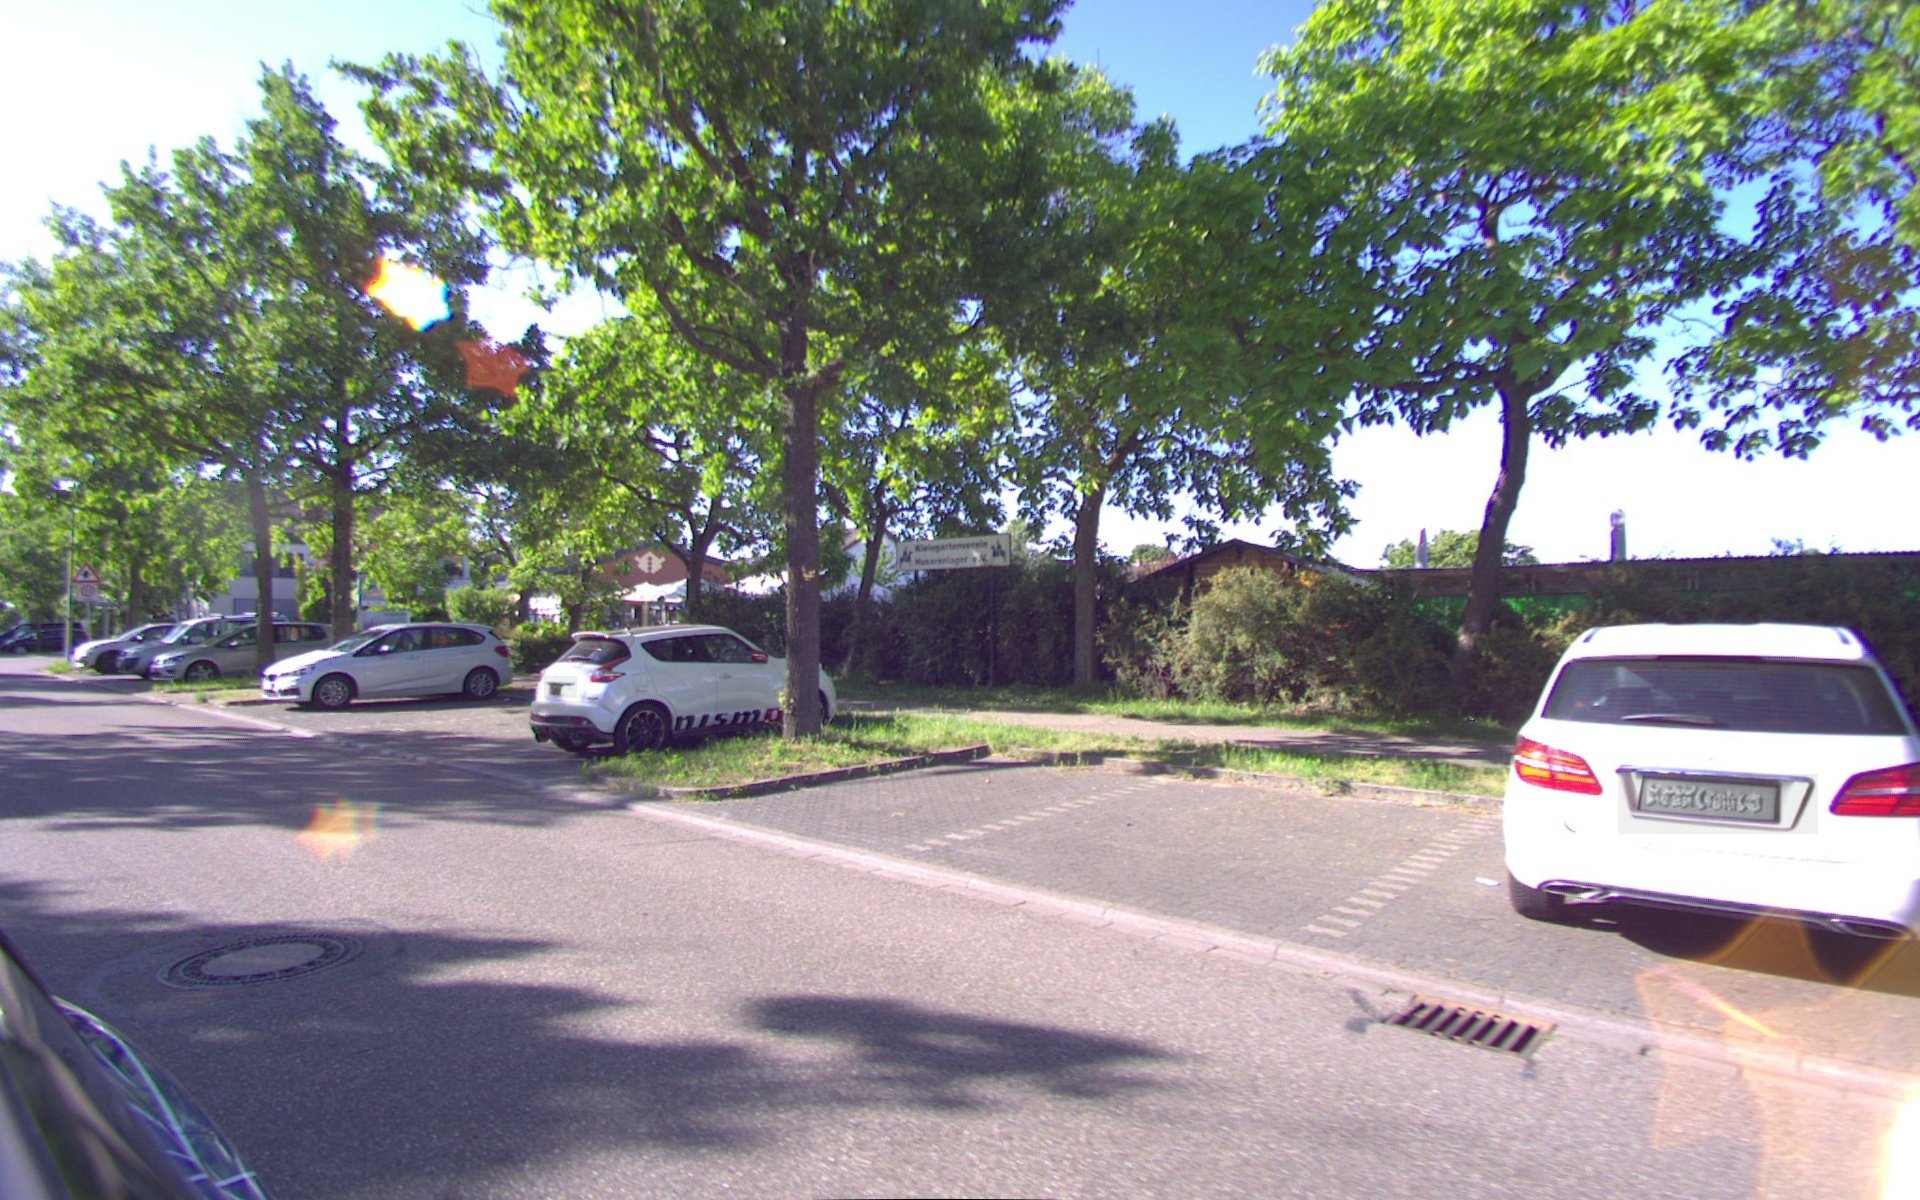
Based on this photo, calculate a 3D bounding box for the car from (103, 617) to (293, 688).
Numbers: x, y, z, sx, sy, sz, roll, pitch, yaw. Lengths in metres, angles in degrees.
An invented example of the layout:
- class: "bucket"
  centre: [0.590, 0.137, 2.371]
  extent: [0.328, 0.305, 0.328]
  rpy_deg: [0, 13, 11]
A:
- class: "car"
  centre: [-22.537, 1.481, 30.047]
  extent: [1.997, 1.898, 4.184]
  rpy_deg: [-2, -1, 41]

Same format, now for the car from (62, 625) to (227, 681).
- class: "car"
  centre: [-26.805, 1.706, 33.338]
  extent: [1.876, 1.655, 4.018]
  rpy_deg: [-2, -1, 43]

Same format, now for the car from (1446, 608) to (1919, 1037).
- class: "car"
  centre: [4.551, 0.869, 5.946]
  extent: [2.188, 1.570, 4.584]
  rpy_deg: [-2, -1, 37]

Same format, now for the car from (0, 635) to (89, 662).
- class: "car"
  centre: [-51.357, 2.702, 56.575]
  extent: [3.977, 1.490, 1.943]
  rpy_deg: [2, -3, -43]

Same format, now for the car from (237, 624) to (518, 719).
- class: "car"
  centre: [-11.281, 1.299, 19.820]
  extent: [2.088, 1.568, 4.365]
  rpy_deg: [-2, -1, 42]

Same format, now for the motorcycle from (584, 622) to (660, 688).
- class: "motorcycle"
  centre: [-7.824, 1.248, 23.370]
  extent: [1.990, 1.443, 0.730]
  rpy_deg: [-2, 1, 42]

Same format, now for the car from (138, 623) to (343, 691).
- class: "car"
  centre: [-18.771, 1.428, 26.518]
  extent: [1.865, 1.568, 4.091]
  rpy_deg: [-2, -1, 42]

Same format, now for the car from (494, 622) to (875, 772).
- class: "car"
  centre: [-3.384, 1.098, 13.117]
  extent: [2.086, 1.522, 4.368]
  rpy_deg: [-2, -1, 40]

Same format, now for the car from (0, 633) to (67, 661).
- class: "car"
  centre: [-61.808, 3.116, 66.977]
  extent: [3.977, 1.791, 1.943]
  rpy_deg: [2, -3, -43]
